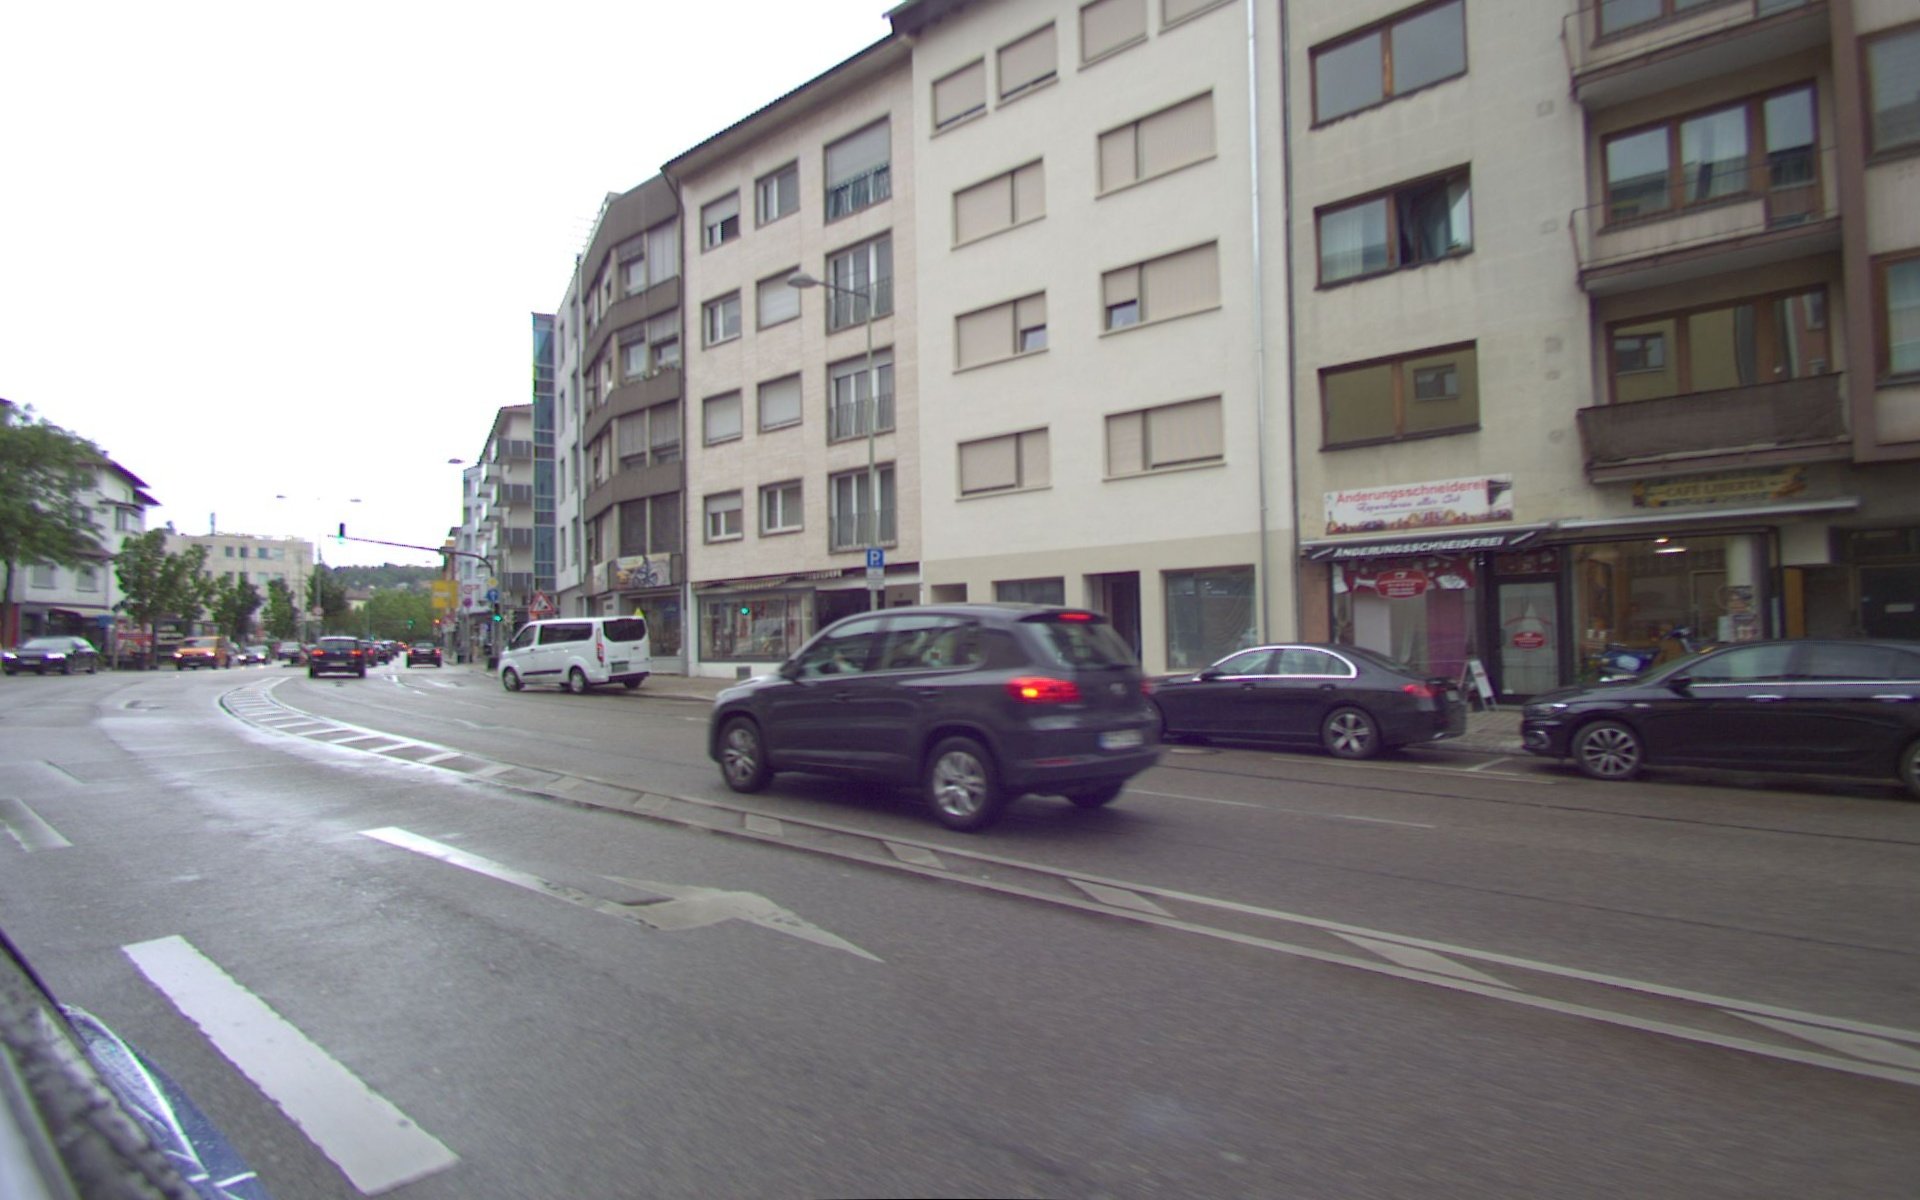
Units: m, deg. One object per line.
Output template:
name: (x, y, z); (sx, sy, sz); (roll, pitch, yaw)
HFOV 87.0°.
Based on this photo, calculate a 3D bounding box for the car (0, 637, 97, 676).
car: (-33.959, 2.143, 37.724); (1.782, 1.350, 4.291); (1, -5, -28)

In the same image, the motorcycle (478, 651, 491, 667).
motorcycle: (-35.651, 4.392, 75.878); (0.659, 1.096, 2.203); (-2, -1, -29)

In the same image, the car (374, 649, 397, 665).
car: (-56.392, 5.624, 99.424); (1.804, 1.555, 4.297); (1, -3, -28)

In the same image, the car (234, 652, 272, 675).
car: (-52.180, 4.658, 74.748); (1.813, 1.453, 4.013); (-2, -1, -28)

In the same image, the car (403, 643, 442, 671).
car: (-28.748, 3.051, 54.221); (1.697, 1.410, 3.606); (1, -3, -25)

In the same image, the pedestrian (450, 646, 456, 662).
pedestrian: (-53.578, 5.679, 106.894); (0.504, 1.701, 0.533); (2, -2, -28)

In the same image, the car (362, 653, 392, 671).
car: (-47.428, 5.027, 82.398); (1.826, 1.485, 4.663); (2, -3, -26)

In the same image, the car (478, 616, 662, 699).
car: (-10.870, 1.537, 28.112); (5.112, 2.029, 2.102); (-2, 0, 32)

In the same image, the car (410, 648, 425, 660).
car: (-80.382, 8.021, 150.023); (1.747, 1.601, 4.039); (2, -4, -25)

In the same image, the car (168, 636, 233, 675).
car: (-44.322, 3.198, 59.192); (2.162, 2.102, 5.952); (0, -2, -28)

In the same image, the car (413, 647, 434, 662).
car: (-57.489, 5.836, 108.471); (1.747, 1.535, 4.297); (1, -3, -26)

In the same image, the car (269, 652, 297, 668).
car: (-63.890, 5.629, 95.575); (1.783, 1.352, 4.012); (-2, -1, -28)

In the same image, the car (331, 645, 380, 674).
car: (-32.496, 3.179, 54.491); (1.955, 1.470, 4.499); (3, -4, -28)

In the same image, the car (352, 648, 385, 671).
car: (-38.918, 3.895, 66.583); (1.799, 1.376, 4.617); (2, -3, -31)

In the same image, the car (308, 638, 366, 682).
car: (-22.645, 2.181, 36.805); (1.660, 1.484, 4.011); (4, -5, -31)

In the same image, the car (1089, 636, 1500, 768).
car: (4.364, 1.264, 13.735); (4.973, 1.488, 1.864); (-2, -4, 39)

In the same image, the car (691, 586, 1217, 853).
car: (-0.234, 0.837, 8.427); (4.253, 1.660, 1.842); (-2, -4, 42)

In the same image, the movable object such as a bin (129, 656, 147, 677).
movable object such as a bin: (-45.369, 3.677, 55.866); (0.570, 1.120, 0.667); (2, -5, -22)

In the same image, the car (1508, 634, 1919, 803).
car: (8.333, 1.108, 10.358); (4.512, 1.488, 1.974); (-2, -3, 38)

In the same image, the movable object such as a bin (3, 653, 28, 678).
movable object such as a bin: (-39.695, 2.771, 42.529); (0.612, 1.039, 0.533); (2, -5, -29)
